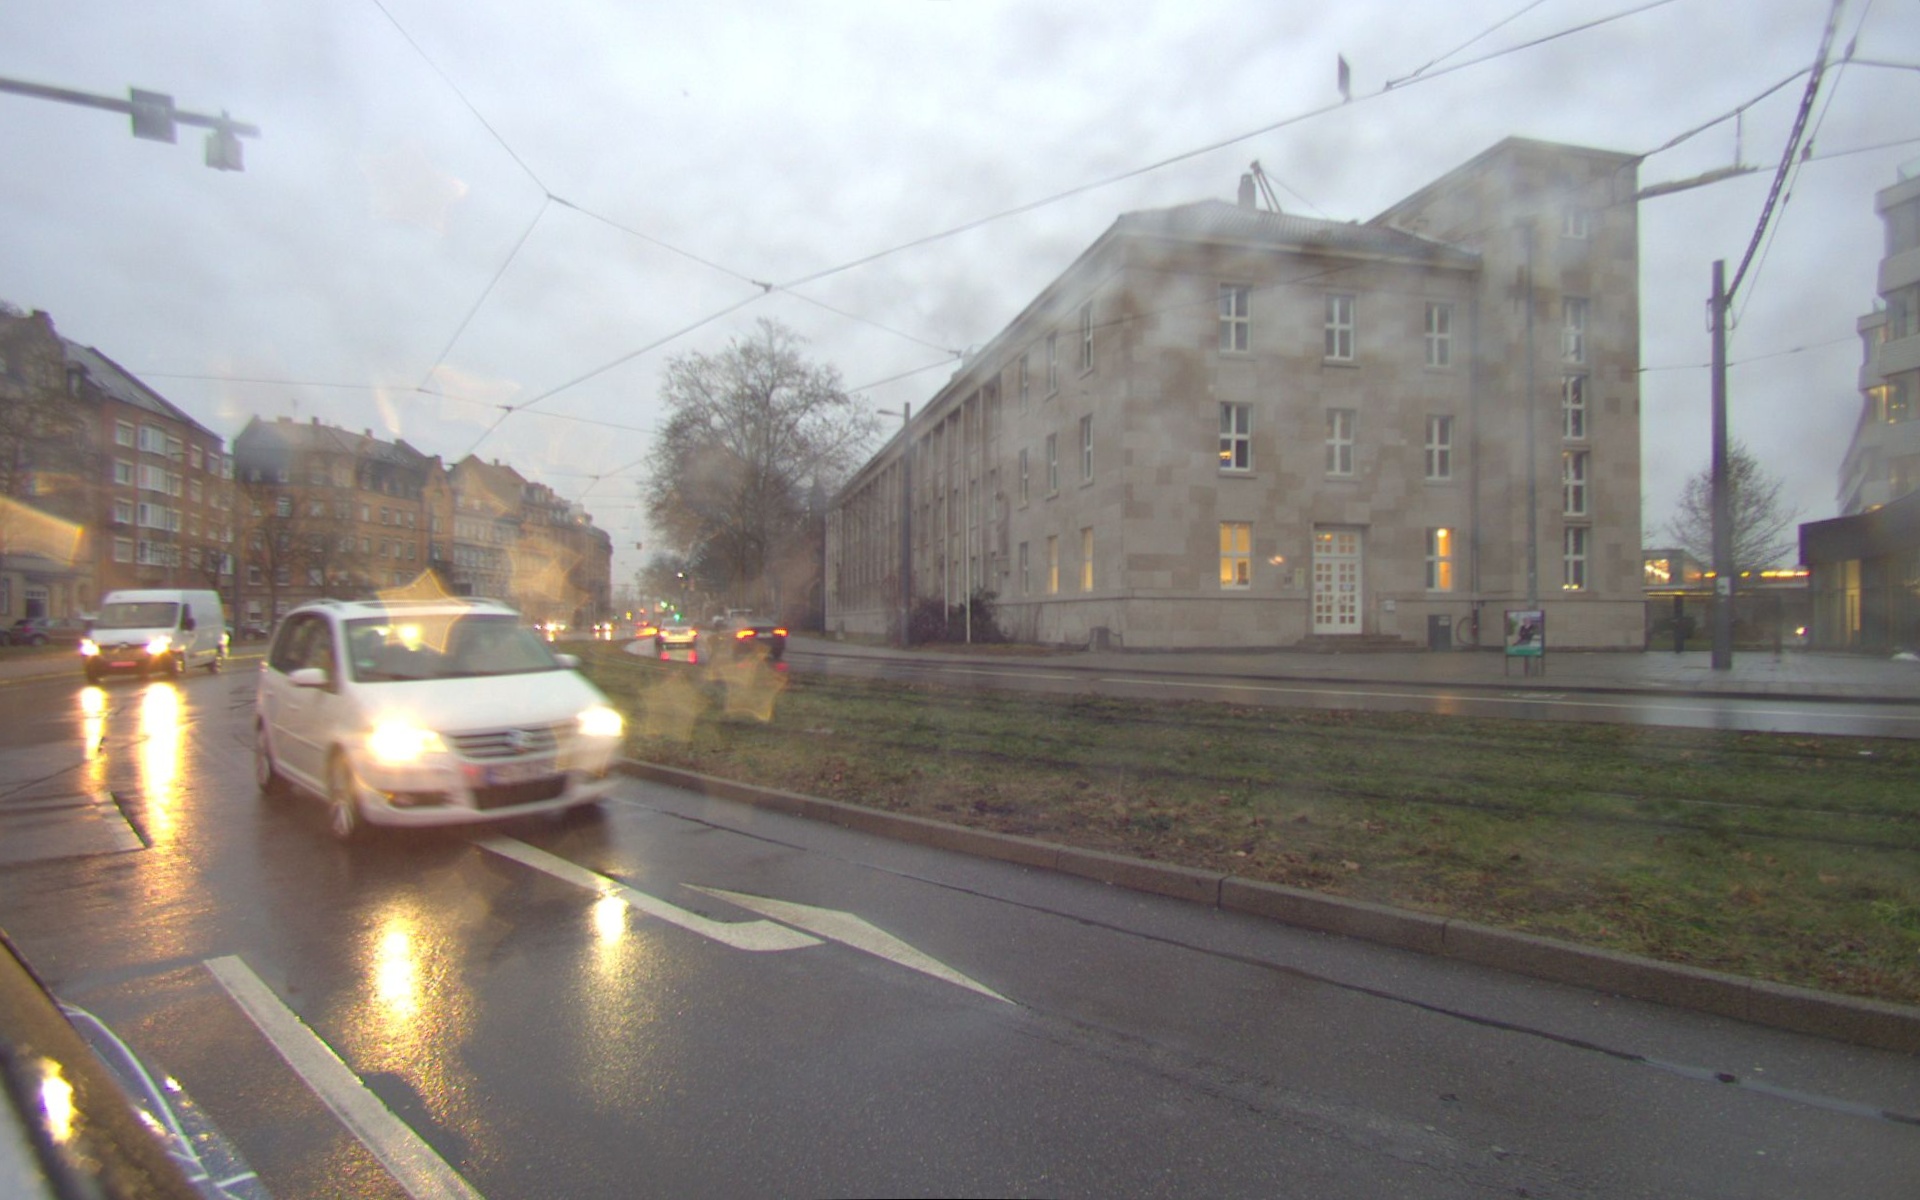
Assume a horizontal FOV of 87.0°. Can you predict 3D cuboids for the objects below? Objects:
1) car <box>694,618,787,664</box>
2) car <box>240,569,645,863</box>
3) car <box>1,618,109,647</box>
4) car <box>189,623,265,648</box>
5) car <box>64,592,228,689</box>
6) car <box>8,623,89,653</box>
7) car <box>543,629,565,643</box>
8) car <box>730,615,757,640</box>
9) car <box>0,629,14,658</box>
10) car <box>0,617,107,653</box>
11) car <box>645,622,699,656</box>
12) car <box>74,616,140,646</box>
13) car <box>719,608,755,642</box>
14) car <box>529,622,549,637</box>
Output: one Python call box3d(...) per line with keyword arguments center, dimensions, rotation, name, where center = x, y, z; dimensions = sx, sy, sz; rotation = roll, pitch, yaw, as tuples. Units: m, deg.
box3d(center=(-7.656, 1.371, 34.963), dimensions=(1.634, 1.411, 4.535), rotation=(-2, 0, -33), name="car")
box3d(center=(-4.215, 0.698, 7.881), dimensions=(1.651, 1.672, 4.151), rotation=(-2, 0, -44), name="car")
box3d(center=(-43.211, 1.546, 48.421), dimensions=(3.706, 1.342, 1.605), rotation=(1, -1, -39), name="car")
box3d(center=(-44.604, 2.145, 61.607), dimensions=(3.706, 1.364, 1.605), rotation=(-2, 0, -39), name="car")
box3d(center=(-22.656, 1.060, 28.470), dimensions=(2.094, 2.398, 5.657), rotation=(-2, 0, -23), name="car")
box3d(center=(-52.224, 2.131, 58.083), dimensions=(1.666, 1.554, 4.010), rotation=(-2, 0, -12), name="car")
box3d(center=(-42.453, 3.750, 105.852), dimensions=(1.865, 1.424, 3.958), rotation=(0, -2, -17), name="car")
box3d(center=(-13.303, 1.654, 62.045), dimensions=(1.535, 1.439, 2.963), rotation=(0, 0, -14), name="car")
box3d(center=(-50.705, 2.252, 51.853), dimensions=(1.449, 1.555, 3.881), rotation=(0, -2, -12), name="car")
box3d(center=(-41.462, 1.589, 46.172), dimensions=(3.816, 1.416, 1.696), rotation=(-2, 0, -43), name="car")
box3d(center=(-14.032, 1.866, 49.081), dimensions=(1.795, 1.446, 4.670), rotation=(-2, 0, -24), name="car")
box3d(center=(-53.567, 1.932, 63.644), dimensions=(1.648, 1.716, 3.473), rotation=(-2, 0, -10), name="car")
box3d(center=(-14.637, 1.587, 66.266), dimensions=(1.966, 2.029, 4.522), rotation=(-2, 0, -15), name="car")
box3d(center=(-45.417, 3.177, 109.248), dimensions=(1.694, 1.630, 3.950), rotation=(0, -2, -17), name="car")
